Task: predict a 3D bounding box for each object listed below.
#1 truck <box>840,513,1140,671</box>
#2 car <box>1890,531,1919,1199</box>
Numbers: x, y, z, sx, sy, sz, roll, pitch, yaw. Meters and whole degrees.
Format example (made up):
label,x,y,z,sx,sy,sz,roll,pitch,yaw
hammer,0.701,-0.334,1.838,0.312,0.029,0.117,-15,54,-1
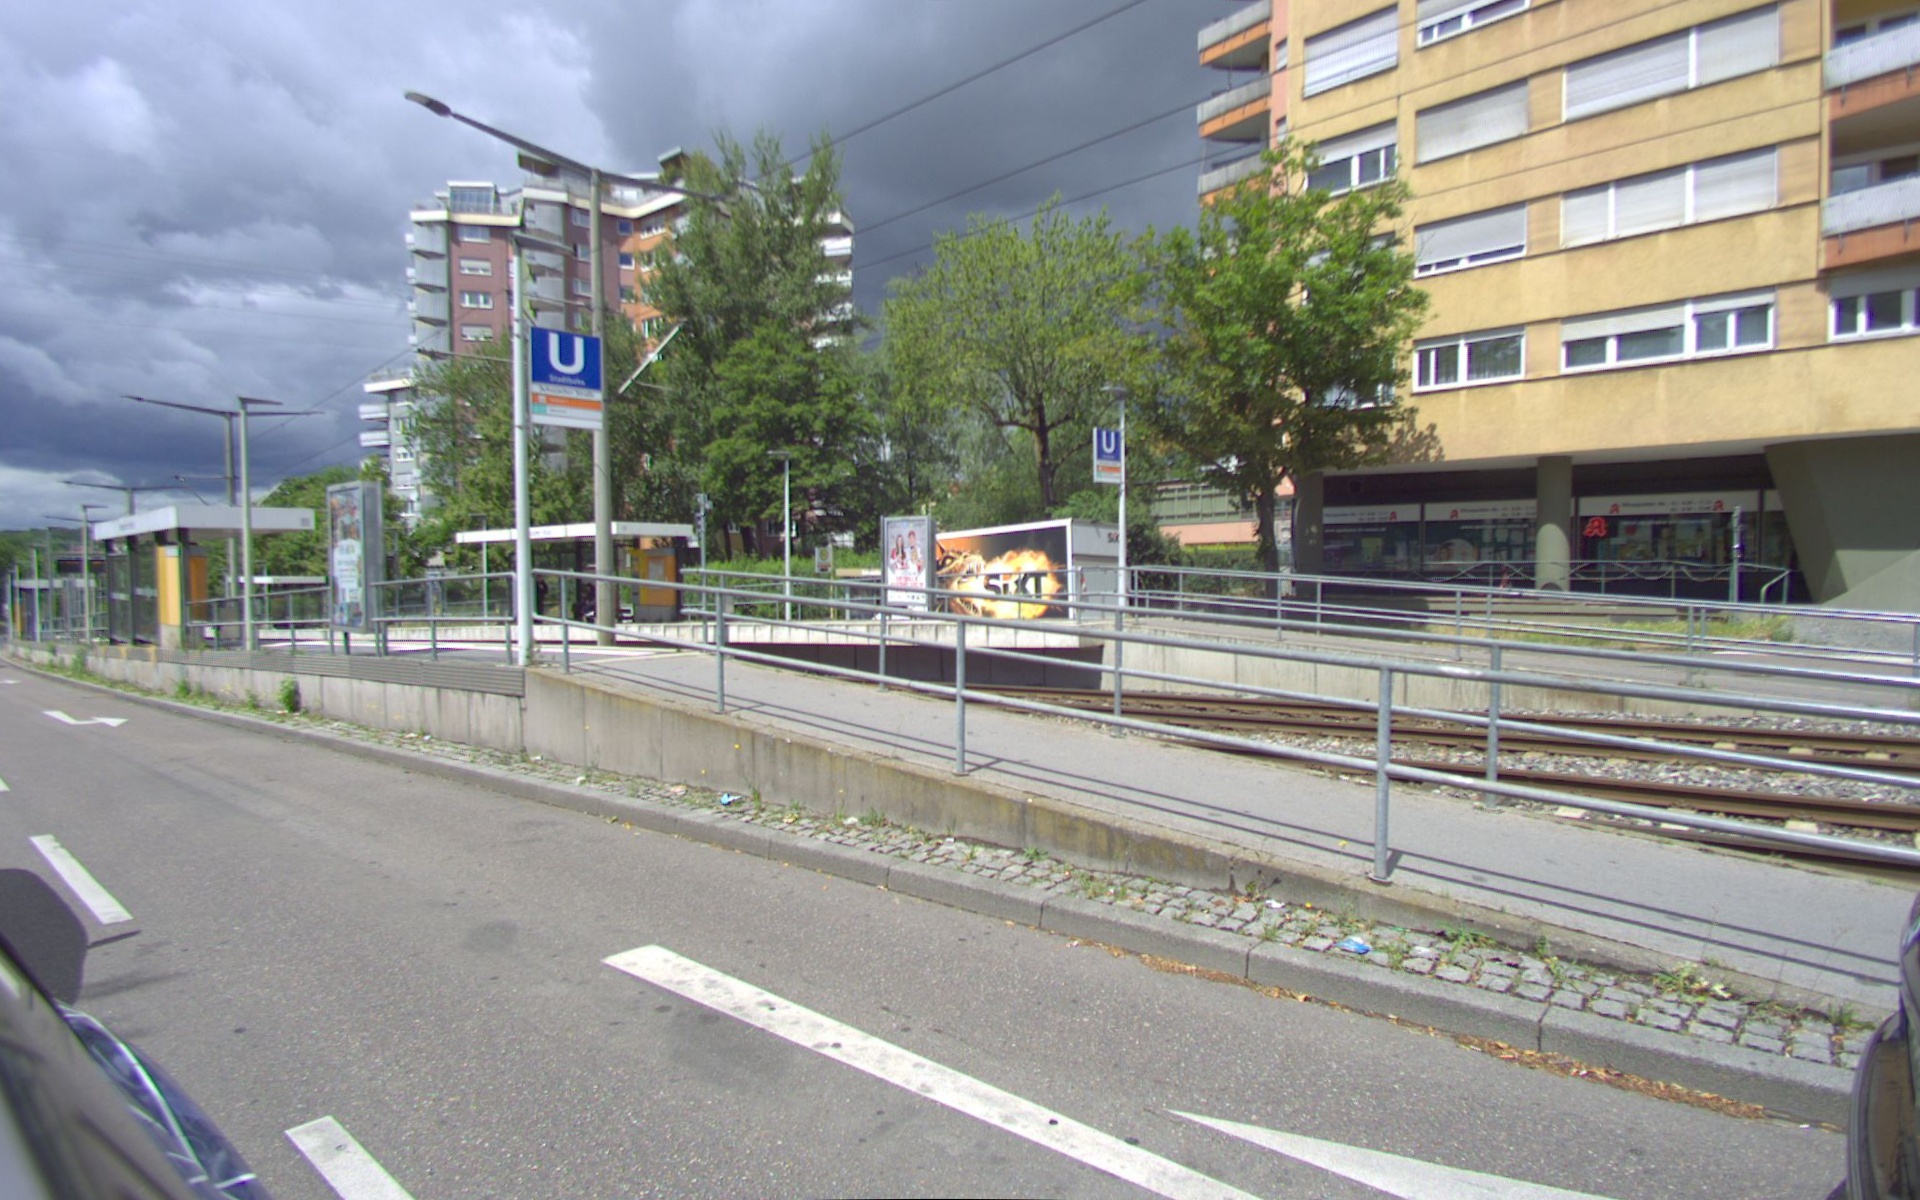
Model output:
label,x,y,z,sx,sy,sz,roll,pitch,yaw
truck,0.482,-0.070,24.120,7.260,3.247,2.389,-2,-1,42
car,3.244,0.601,0.118,4.542,1.472,1.710,-1,0,42
